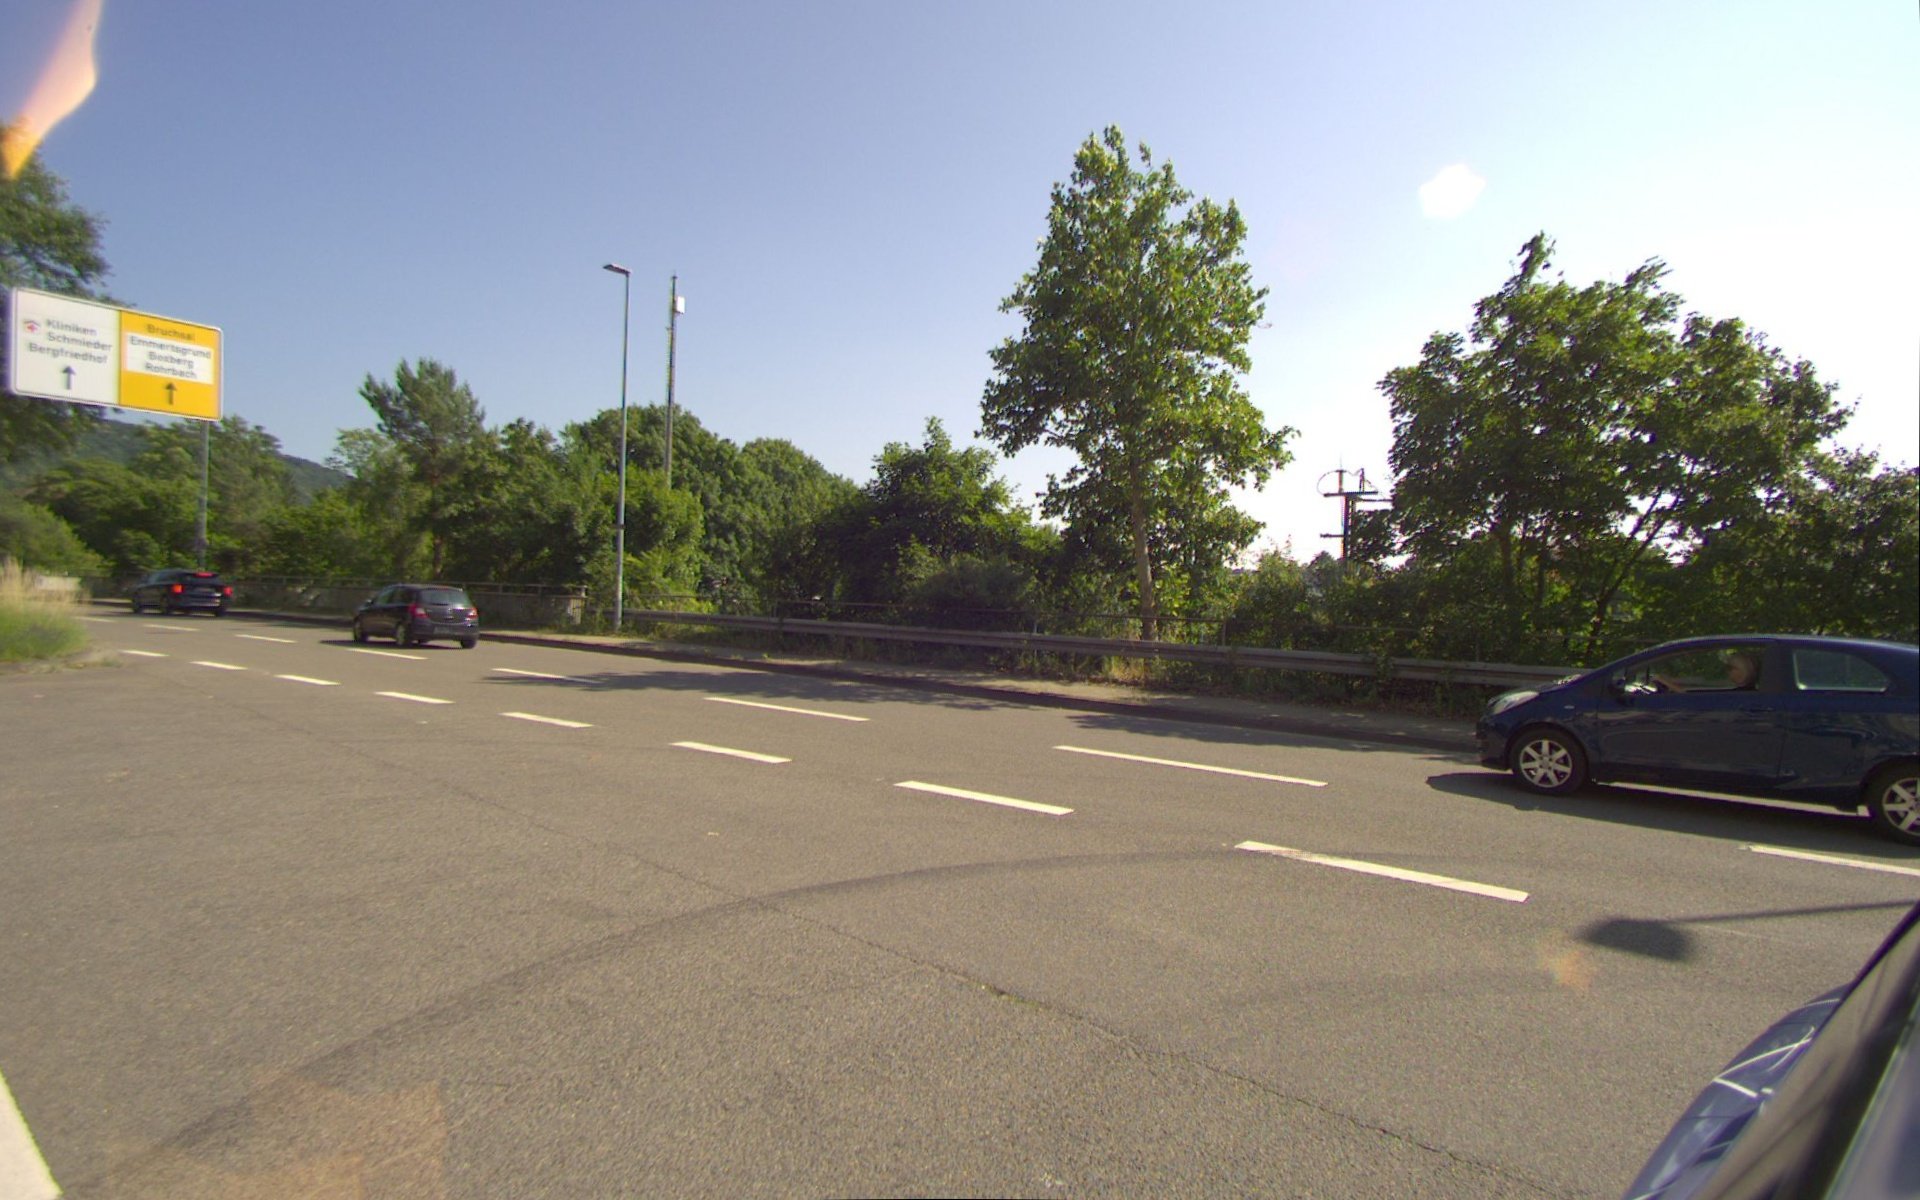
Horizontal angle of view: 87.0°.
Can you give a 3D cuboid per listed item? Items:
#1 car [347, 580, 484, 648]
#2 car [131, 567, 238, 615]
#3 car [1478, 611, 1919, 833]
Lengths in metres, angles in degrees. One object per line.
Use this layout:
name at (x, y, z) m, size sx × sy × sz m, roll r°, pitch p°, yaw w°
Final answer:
car at (-13.048, 0.296, 24.196) m, size 3.560 × 1.488 × 1.657 m, roll 2°, pitch 0°, yaw 40°
car at (-29.101, -0.341, 37.937) m, size 4.282 × 1.685 × 1.900 m, roll 2°, pitch 0°, yaw 34°
car at (6.701, 0.942, 8.764) m, size 3.635 × 1.520 × 1.621 m, roll 2°, pitch -1°, yaw 42°
